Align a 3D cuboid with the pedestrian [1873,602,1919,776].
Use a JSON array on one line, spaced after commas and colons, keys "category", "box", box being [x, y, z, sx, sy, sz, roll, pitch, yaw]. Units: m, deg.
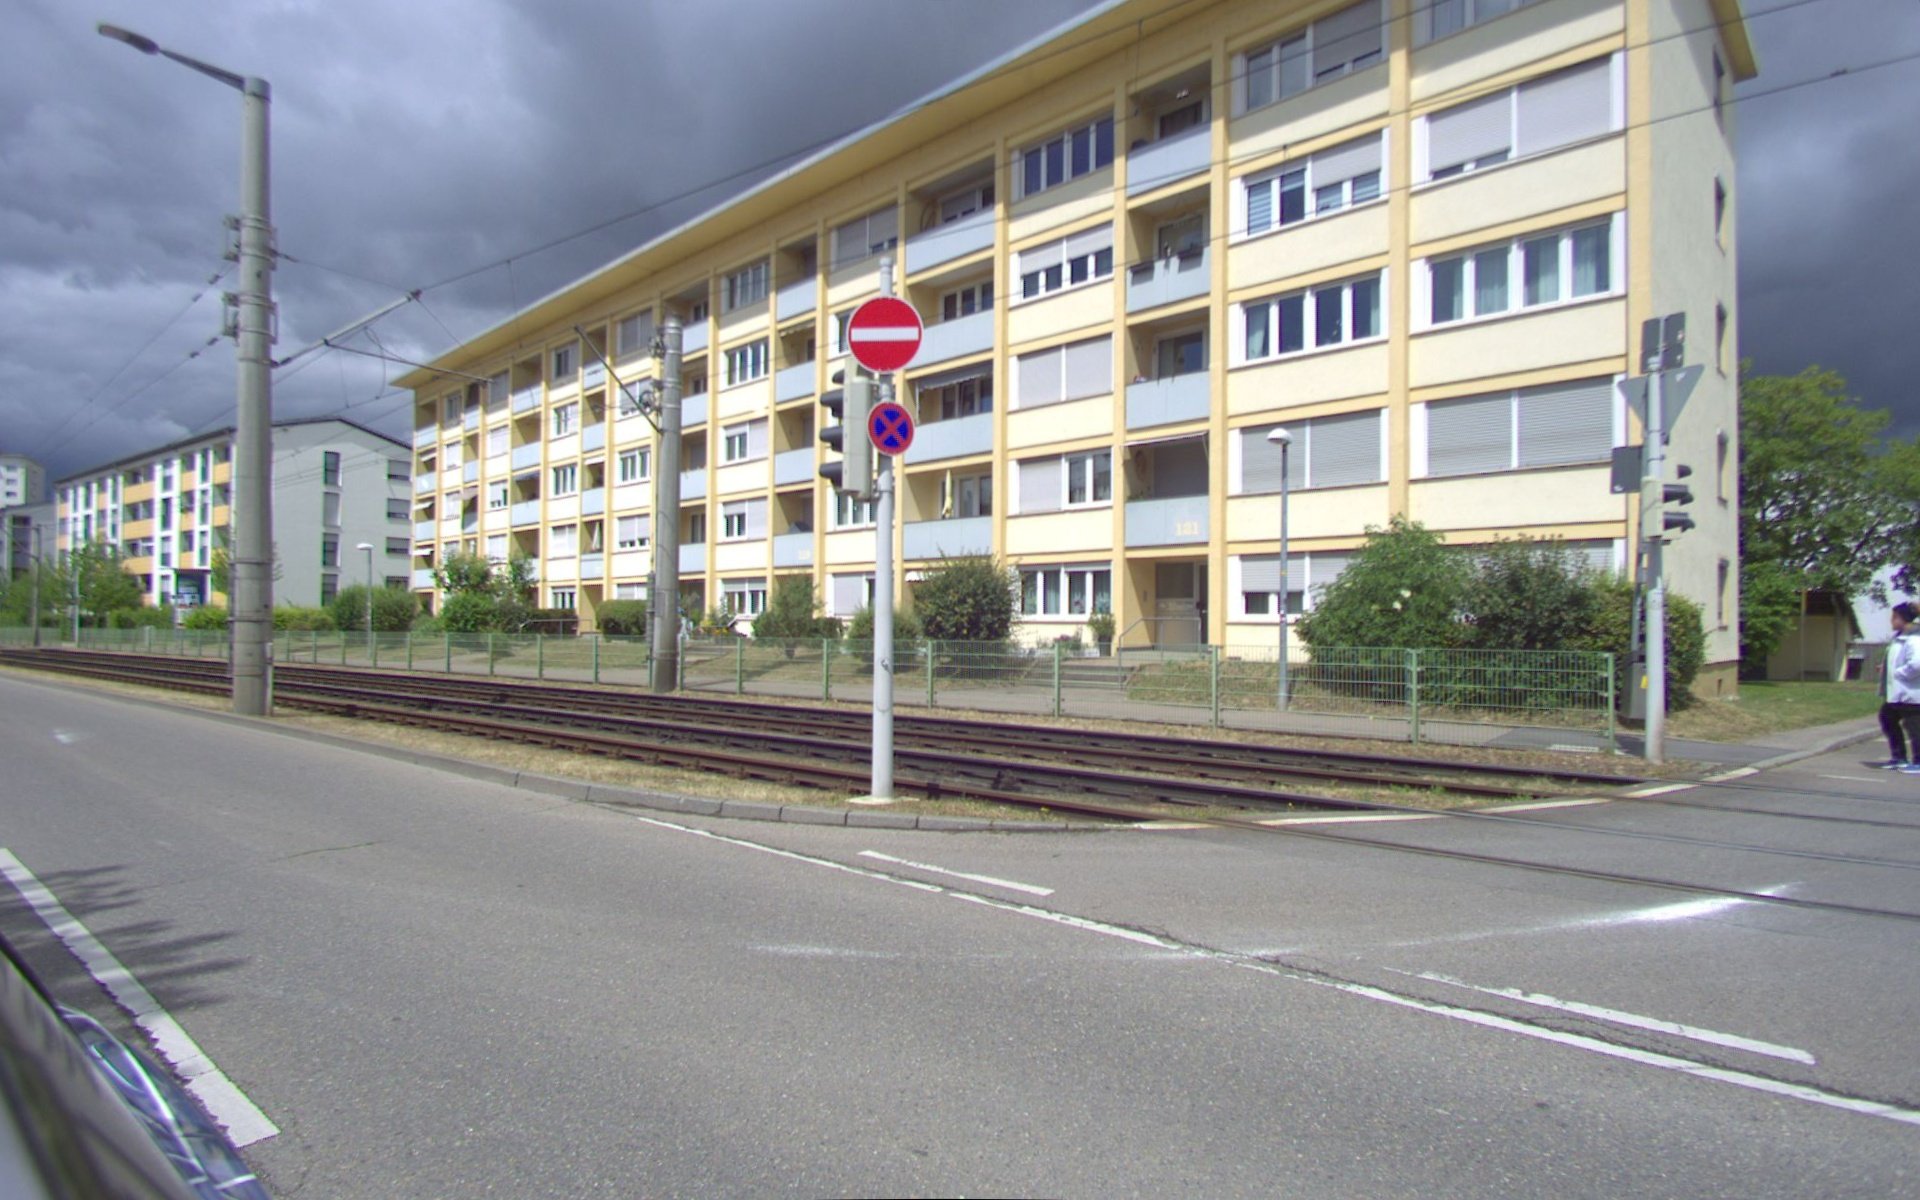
[{"category": "pedestrian", "box": [9.195, 0.837, 9.588, 0.773, 1.620, 0.597, -1, -3, 41]}]
